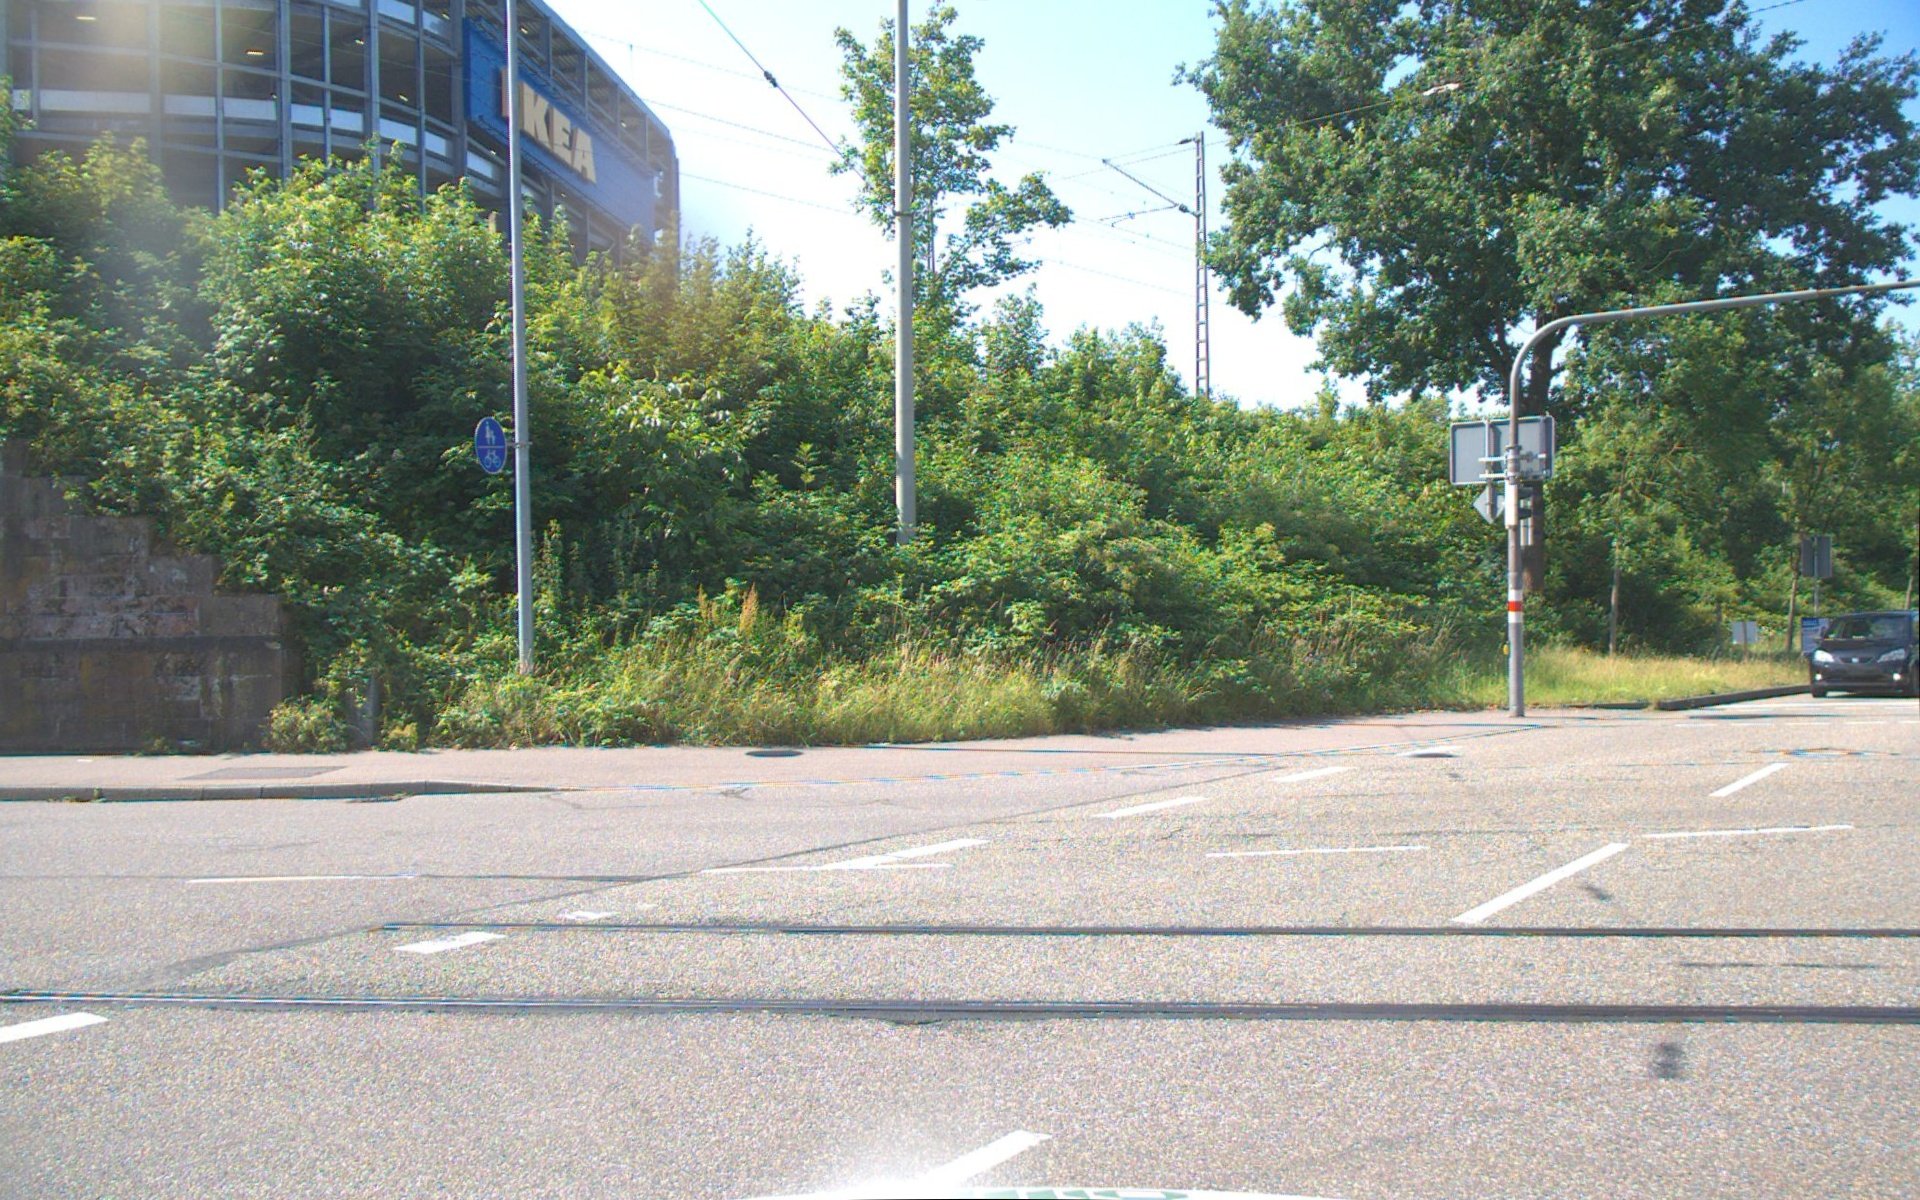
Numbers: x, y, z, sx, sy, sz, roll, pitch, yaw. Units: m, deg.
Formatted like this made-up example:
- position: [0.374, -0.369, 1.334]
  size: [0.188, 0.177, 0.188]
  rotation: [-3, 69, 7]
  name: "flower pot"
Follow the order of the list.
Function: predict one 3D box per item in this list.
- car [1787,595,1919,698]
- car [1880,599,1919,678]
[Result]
- position: [16.064, 0.786, 28.999]
  size: [1.883, 1.670, 3.714]
  rotation: [-1, -1, 42]
  name: "car"
- position: [20.681, 0.776, 34.272]
  size: [1.964, 1.567, 4.211]
  rotation: [-1, -1, 42]
  name: "car"
